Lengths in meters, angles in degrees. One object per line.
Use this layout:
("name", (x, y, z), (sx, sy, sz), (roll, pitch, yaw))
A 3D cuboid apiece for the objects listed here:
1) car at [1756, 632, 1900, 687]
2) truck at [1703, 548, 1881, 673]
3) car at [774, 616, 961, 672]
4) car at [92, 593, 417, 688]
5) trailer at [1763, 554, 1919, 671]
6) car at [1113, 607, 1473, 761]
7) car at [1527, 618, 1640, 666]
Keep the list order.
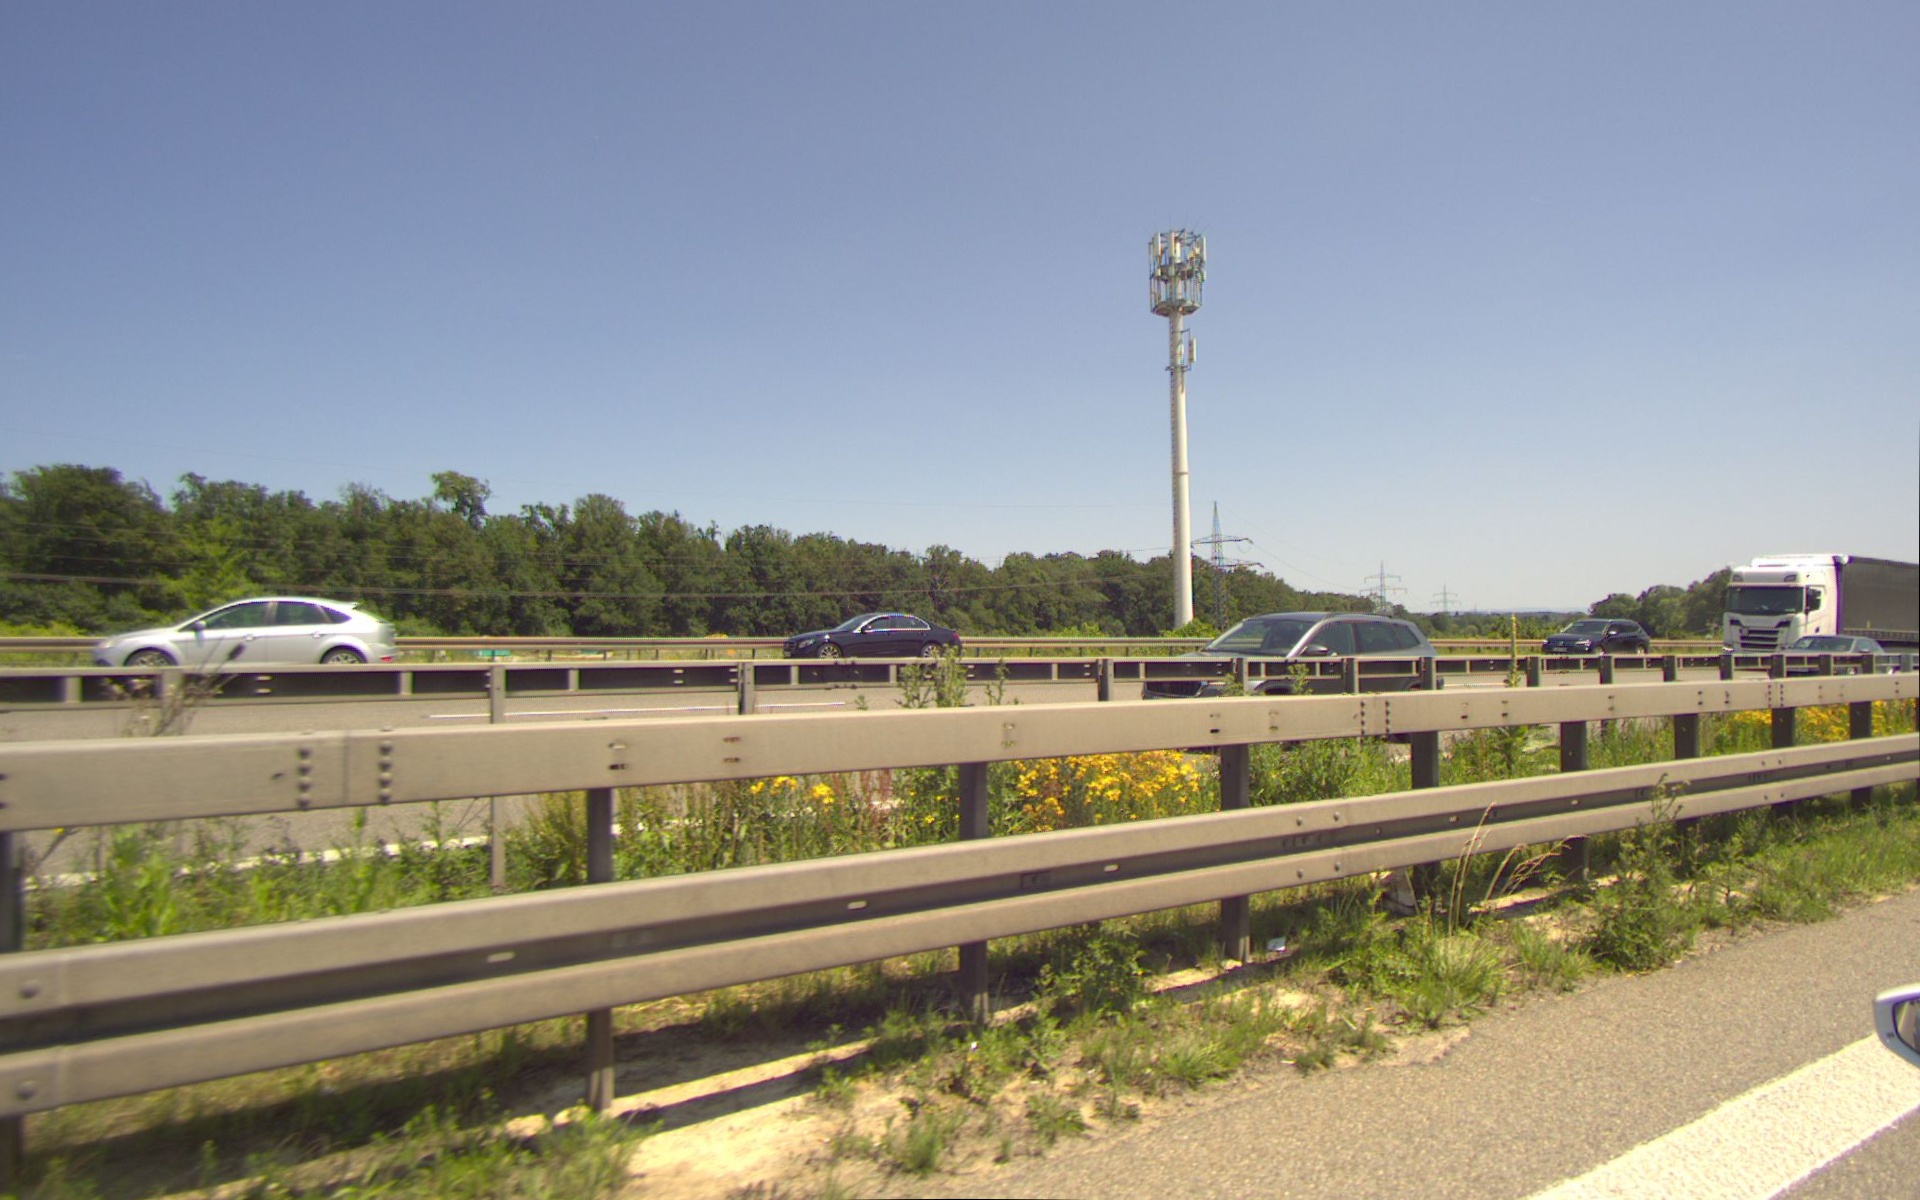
("car", (24.669, 1.654, 28.519), (4.443, 1.378, 1.698), (1, 0, -30))
("truck", (30.262, 0.409, 36.494), (6.308, 4.172, 2.868), (1, 0, -30))
("car", (-2.407, 1.144, 26.571), (4.609, 1.333, 1.822), (1, 0, -30))
("car", (-11.924, 0.663, 17.380), (4.389, 1.465, 1.742), (1, 0, -31))
("trailer", (36.807, 0.583, 40.203), (12.434, 4.168, 2.877), (1, 0, -30))
("car", (4.228, 0.949, 12.597), (4.356, 1.619, 1.839), (1, 0, -30))
("car", (22.763, 1.518, 36.672), (3.953, 1.635, 1.869), (1, 0, -30))
